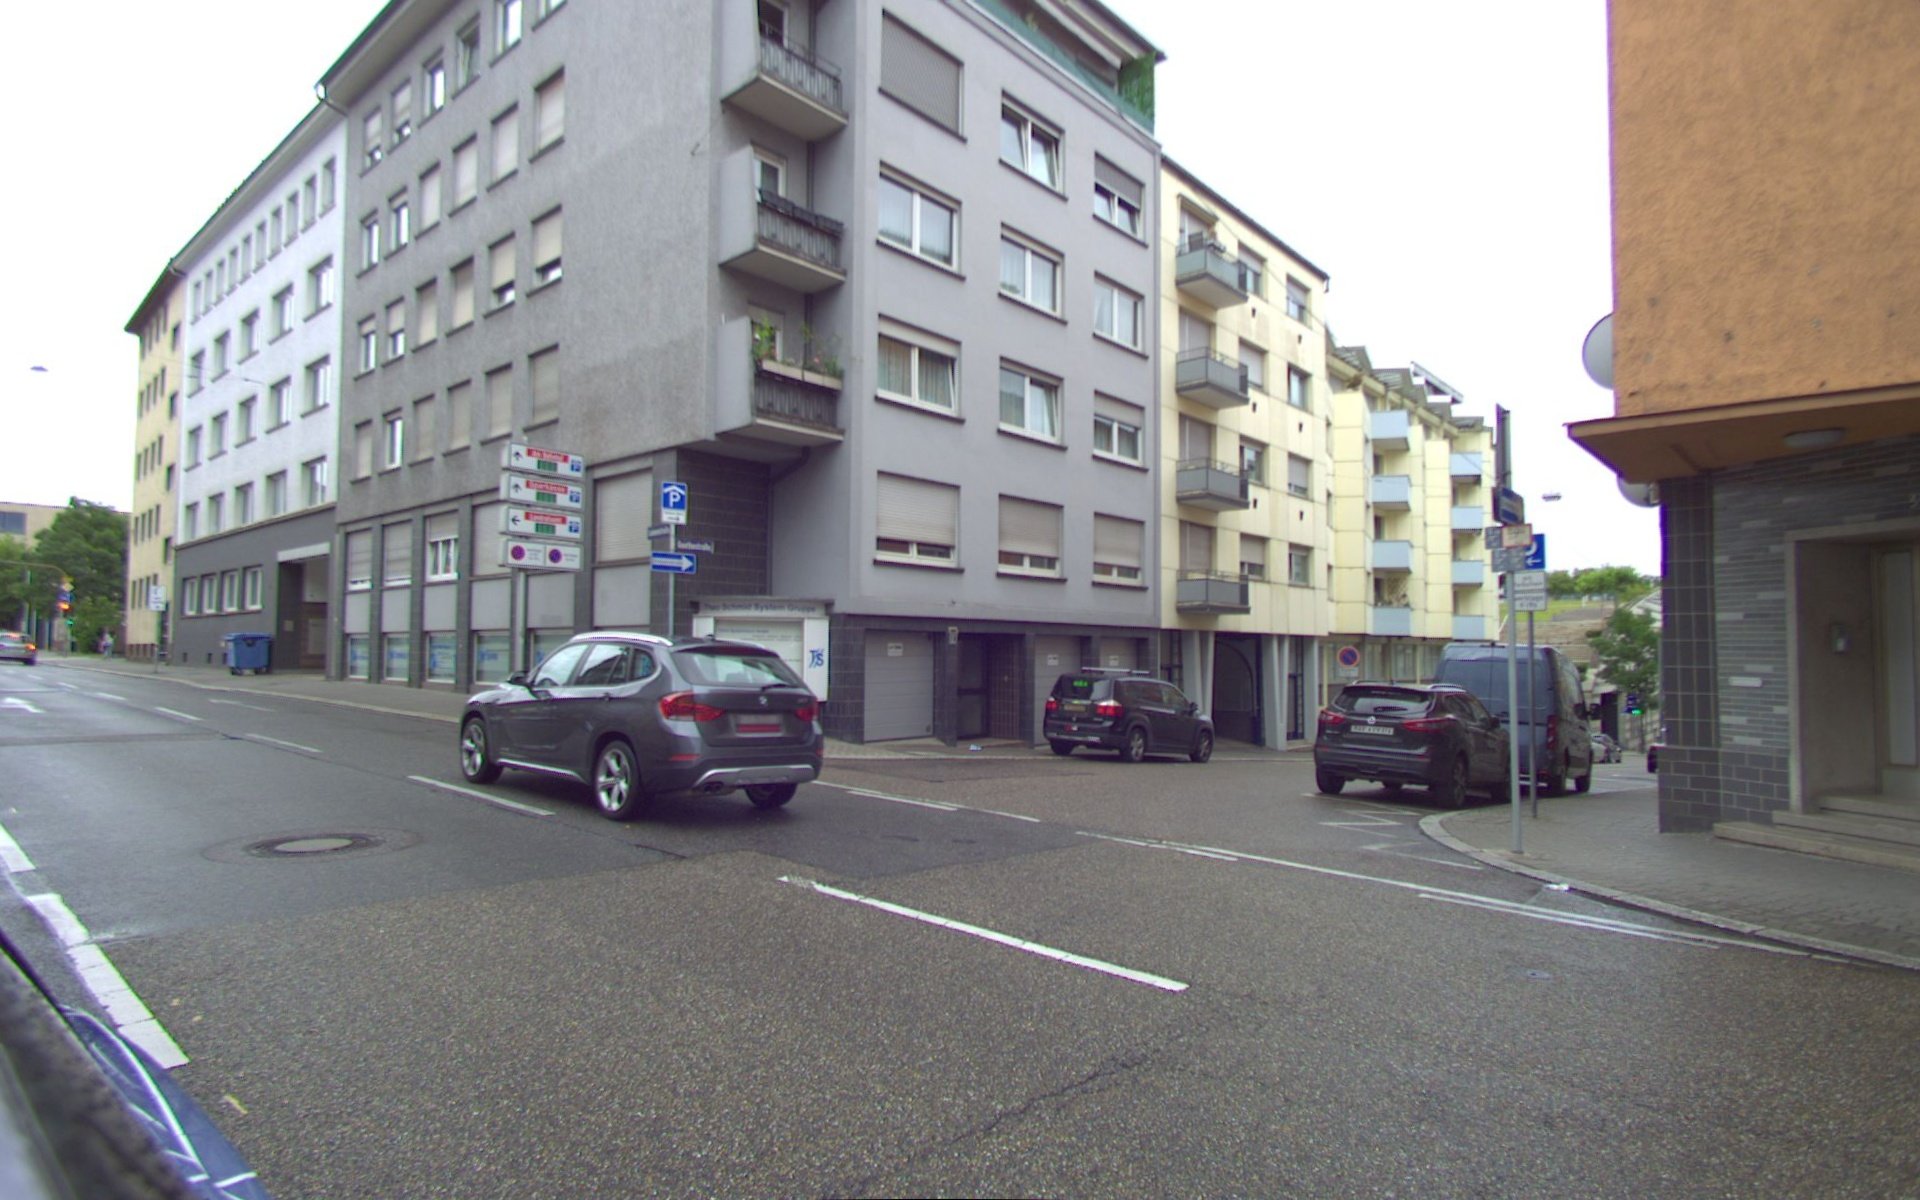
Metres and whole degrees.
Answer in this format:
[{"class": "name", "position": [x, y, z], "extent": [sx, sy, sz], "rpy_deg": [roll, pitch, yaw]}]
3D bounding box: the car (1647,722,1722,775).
[{"class": "car", "position": [25.992, 5.331, 36.281], "extent": [1.817, 1.688, 3.998], "rpy_deg": [-1, -8, 41]}]

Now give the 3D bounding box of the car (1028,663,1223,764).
[{"class": "car", "position": [3.351, 2.271, 19.908], "extent": [1.794, 1.700, 4.186], "rpy_deg": [-1, -8, 41]}]

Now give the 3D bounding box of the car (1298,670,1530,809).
[{"class": "car", "position": [6.454, 1.945, 14.127], "extent": [1.842, 1.589, 4.098], "rpy_deg": [-1, -8, 41]}]

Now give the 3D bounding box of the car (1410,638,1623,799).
[{"class": "car", "position": [10.523, 2.212, 18.830], "extent": [2.249, 2.480, 5.975], "rpy_deg": [-1, -7, 41]}]

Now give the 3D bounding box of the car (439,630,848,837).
[{"class": "car", "position": [-3.124, 1.096, 9.564], "extent": [4.157, 1.519, 1.685], "rpy_deg": [-1, -5, 41]}]

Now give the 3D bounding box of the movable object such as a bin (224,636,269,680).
[{"class": "movable object such as a bin", "position": [-22.859, 1.836, 32.402], "extent": [1.096, 1.343, 0.933], "rpy_deg": [-1, 0, 41]}]

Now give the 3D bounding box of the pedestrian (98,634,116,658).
[{"class": "pedestrian", "position": [-43.462, 2.353, 51.552], "extent": [0.573, 1.158, 0.408], "rpy_deg": [5, -5, -35]}]

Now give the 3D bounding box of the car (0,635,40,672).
[{"class": "car", "position": [-43.981, 2.442, 46.612], "extent": [4.371, 1.602, 1.858], "rpy_deg": [-1, -3, 41]}]
